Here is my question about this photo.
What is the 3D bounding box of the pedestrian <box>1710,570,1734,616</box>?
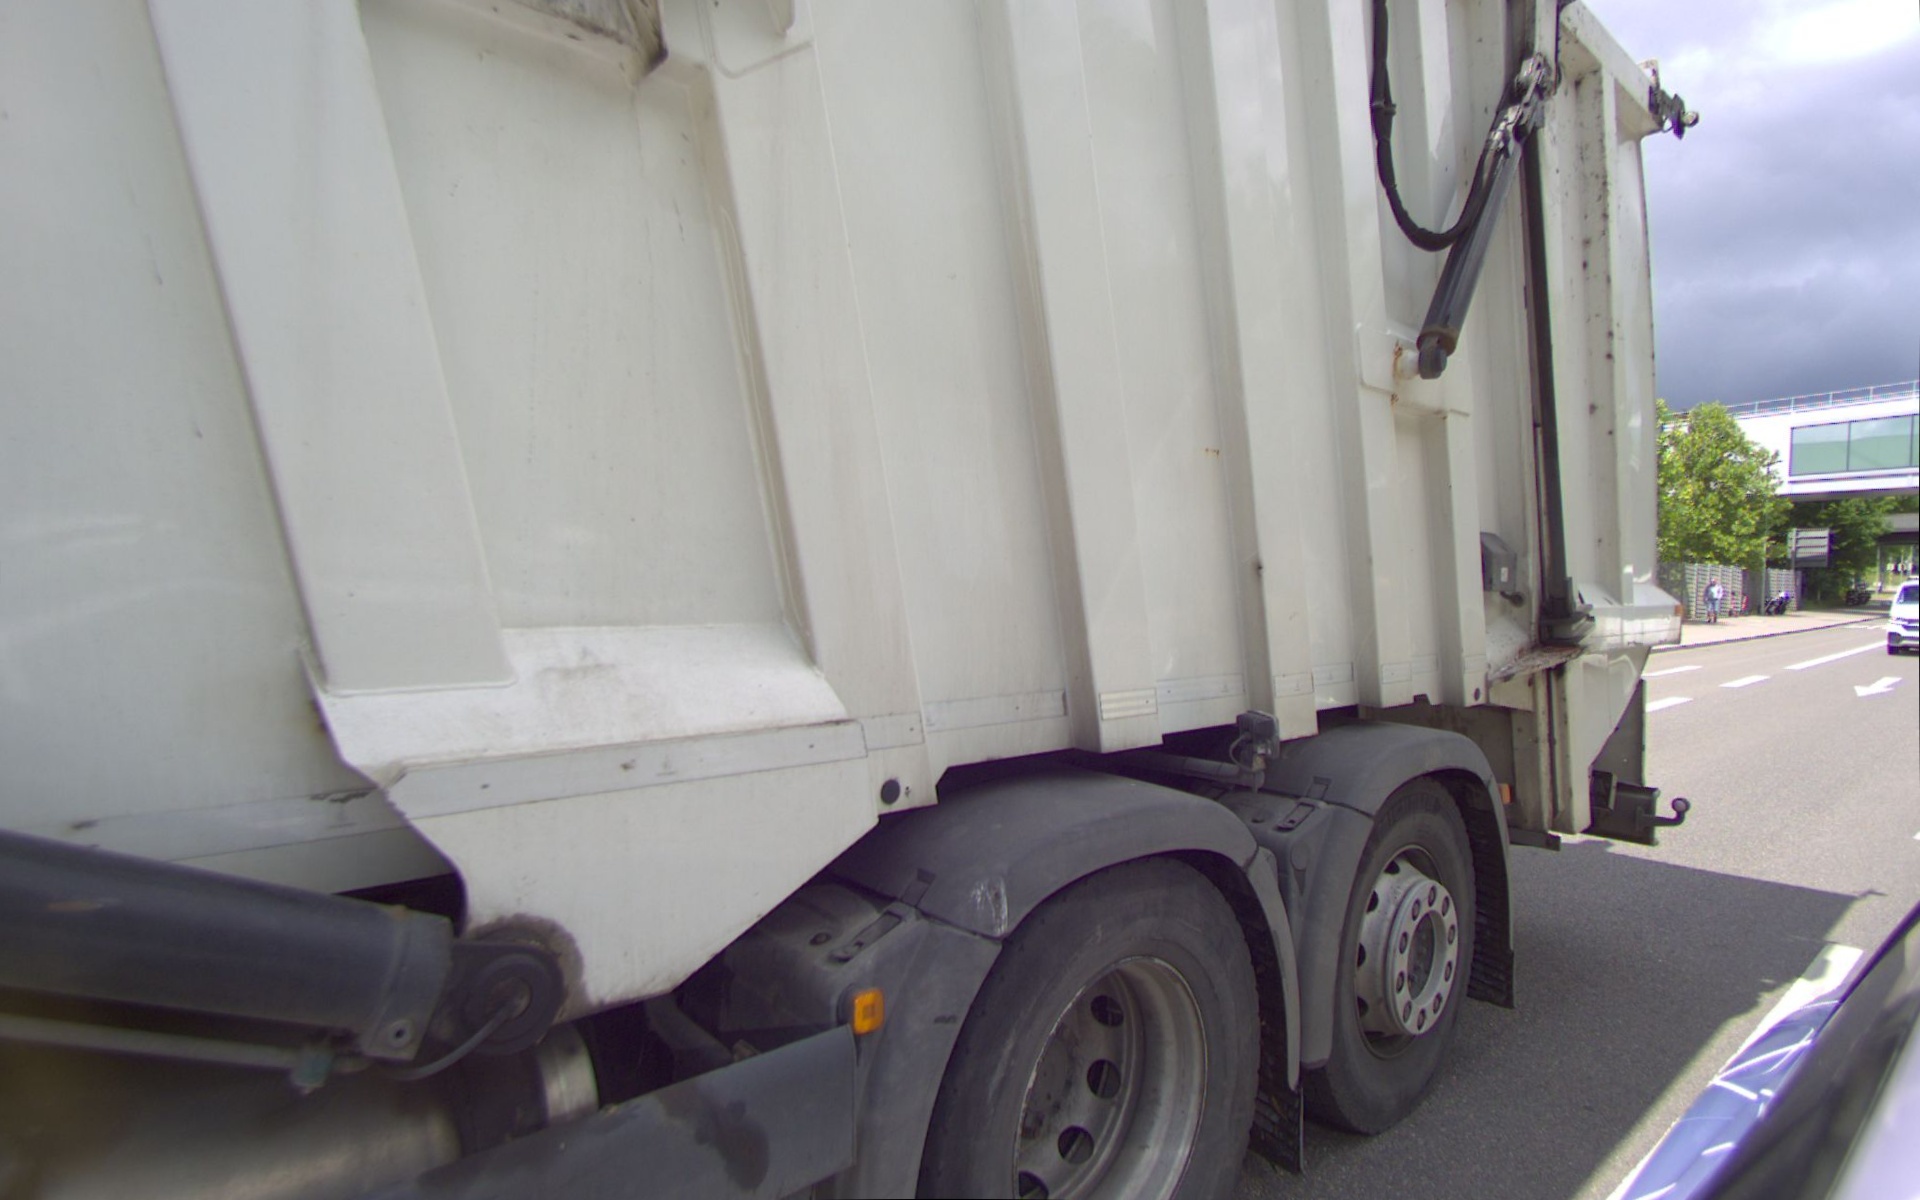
[{"bbox_3d":[32.961,-0.300,43.750,0.647,1.936,0.738,0,0,-44],"label":"pedestrian"}]

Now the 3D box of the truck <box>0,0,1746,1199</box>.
[{"bbox_3d":[-0.759,-0.512,2.468,10.000,3.962,2.492,-1,0,-42],"label":"truck"}]

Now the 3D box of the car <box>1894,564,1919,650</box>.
[{"bbox_3d":[25.849,0.189,26.158,4.573,2.121,1.925,0,0,-40],"label":"car"}]
